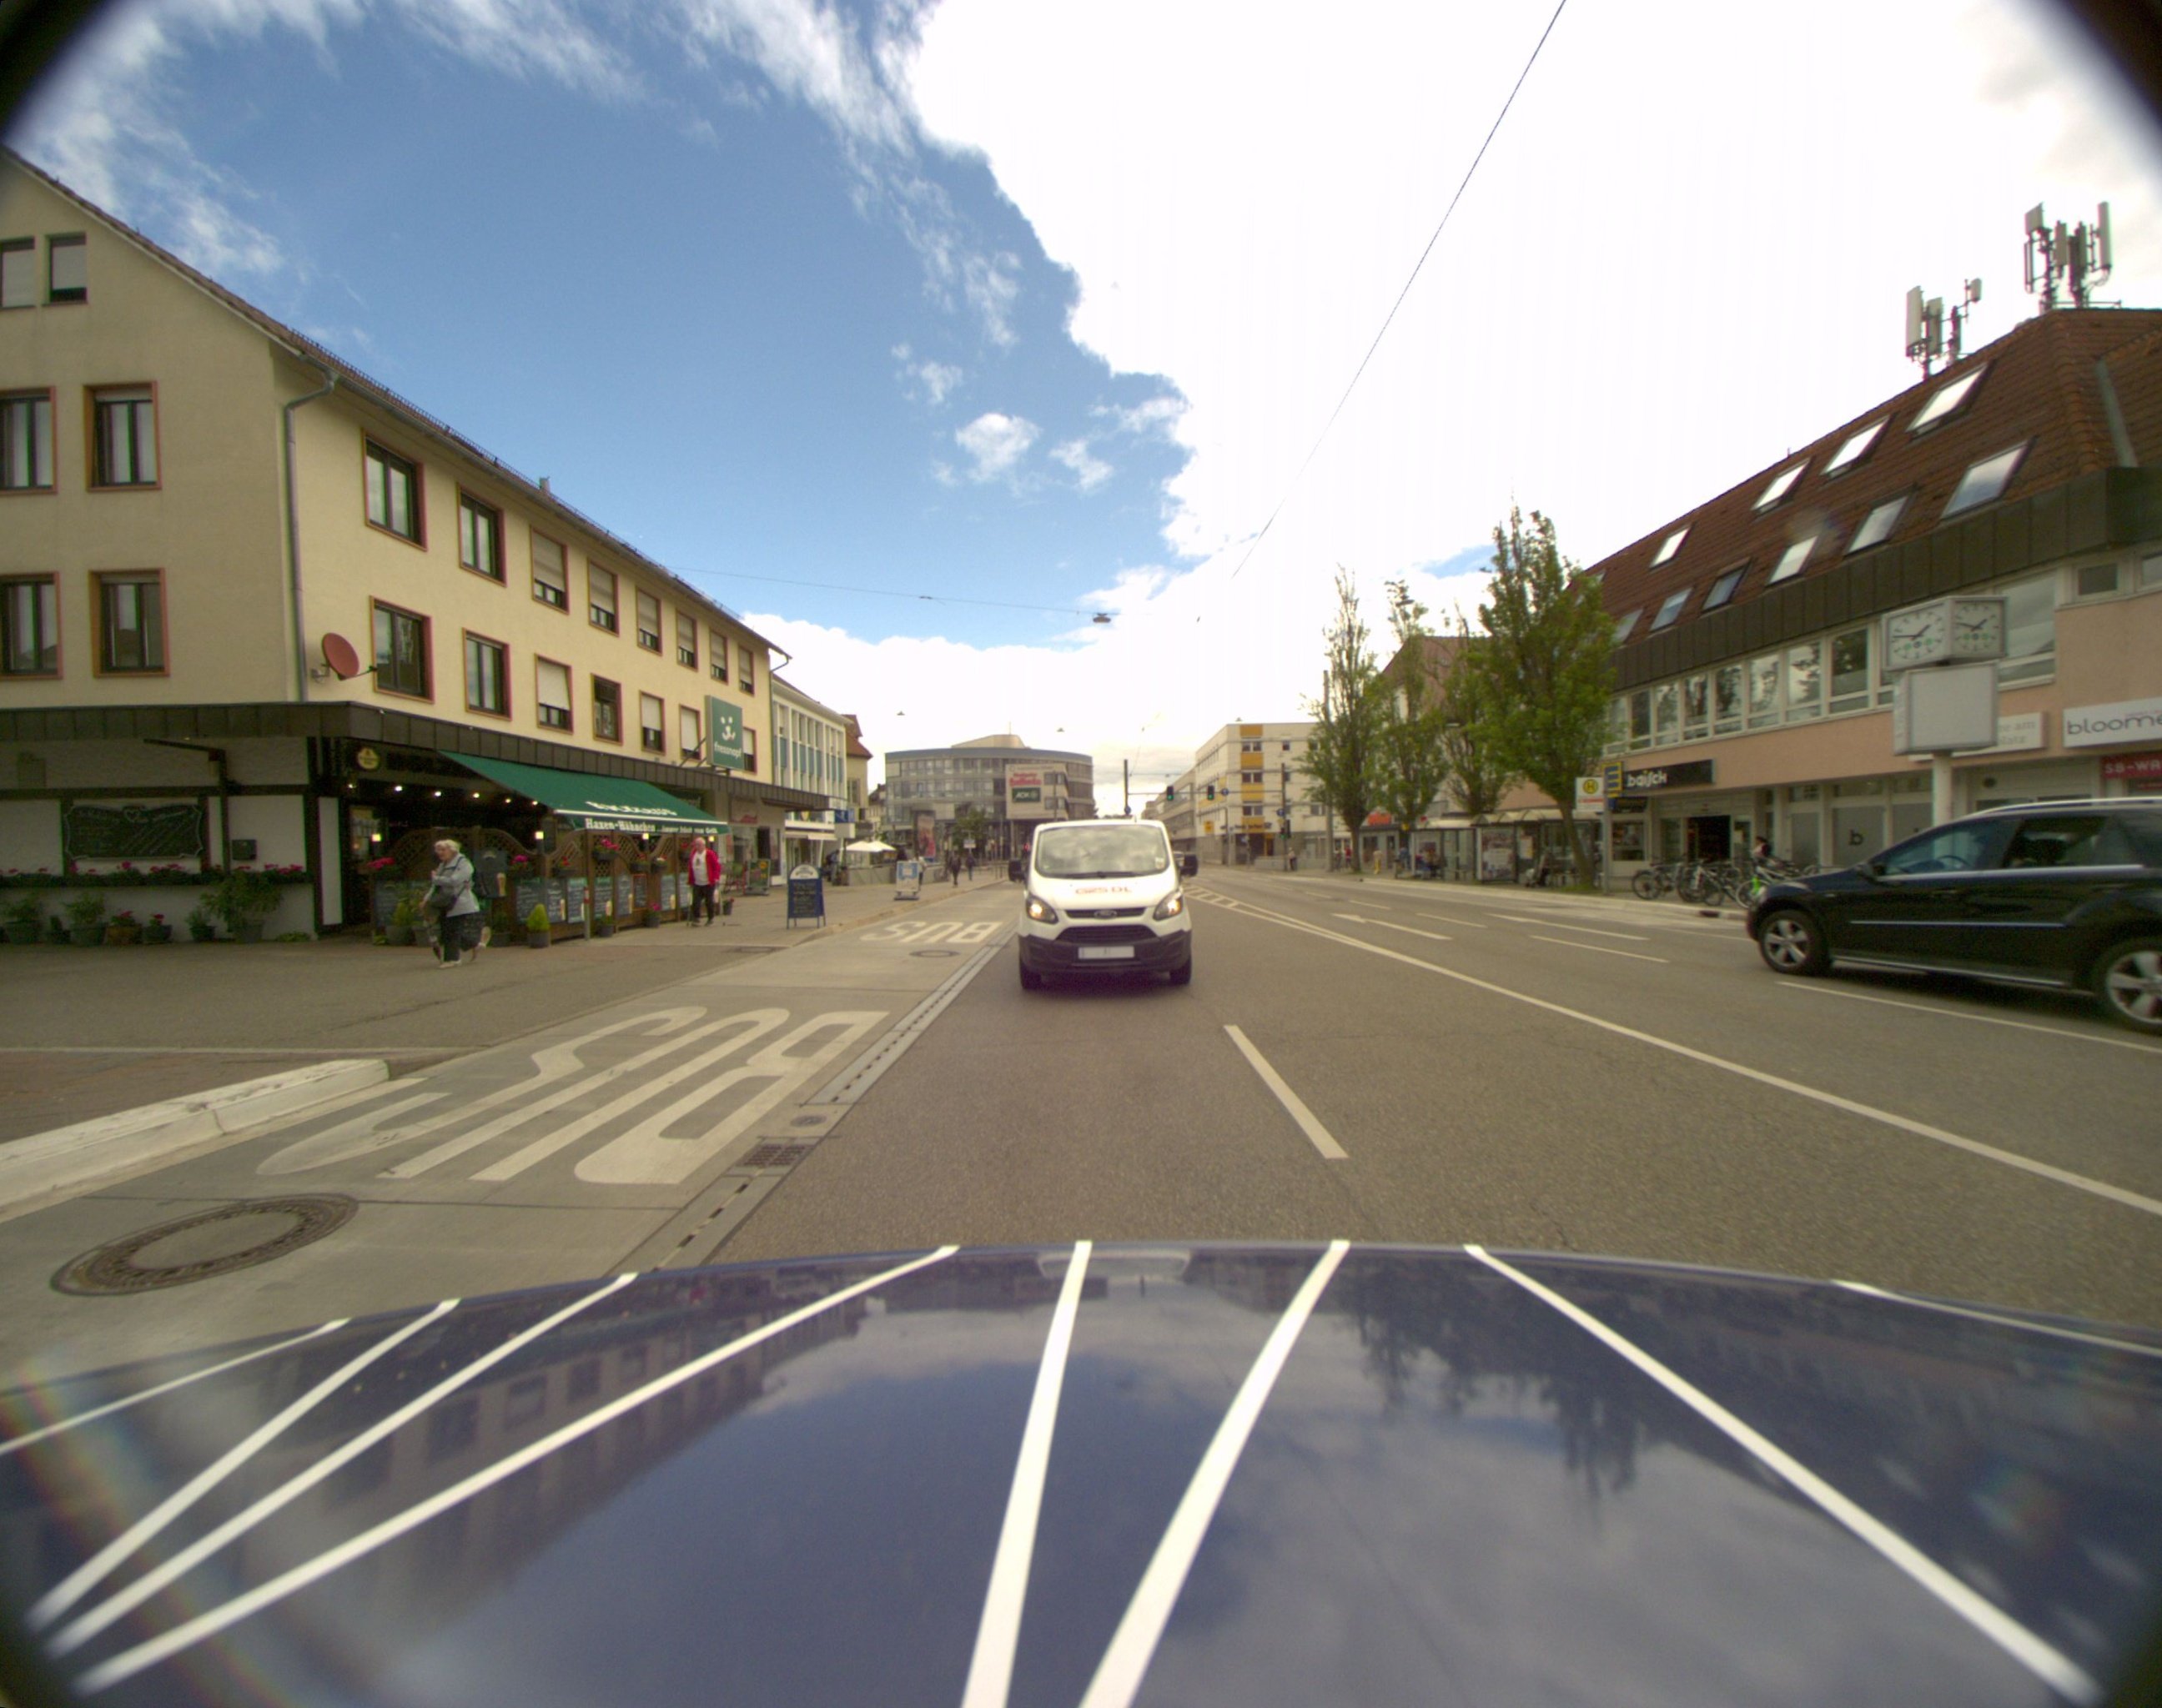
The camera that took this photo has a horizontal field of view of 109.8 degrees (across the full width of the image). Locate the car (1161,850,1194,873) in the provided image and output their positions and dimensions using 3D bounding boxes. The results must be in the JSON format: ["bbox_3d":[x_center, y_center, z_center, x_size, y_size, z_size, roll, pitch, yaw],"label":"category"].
[{"bbox_3d":[6.834,0.503,54.162,1.879,1.497,4.343,0,1,2],"label":"car"}]

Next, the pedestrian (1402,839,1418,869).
[{"bbox_3d":[19.469,-0.016,44.993,0.587,1.702,0.615,-4,0,-1],"label":"pedestrian"}]

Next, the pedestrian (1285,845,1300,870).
[{"bbox_3d":[14.774,0.248,53.029,0.702,1.625,0.614,-4,0,-10],"label":"pedestrian"}]

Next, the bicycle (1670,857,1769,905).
[{"bbox_3d":[15.494,0.647,18.447,2.024,1.084,0.648,-2,1,-9],"label":"bicycle"}]

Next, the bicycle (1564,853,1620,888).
[{"bbox_3d":[17.088,0.524,25.448,0.535,1.084,1.930,-2,1,-1],"label":"bicycle"}]

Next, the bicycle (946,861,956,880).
[{"bbox_3d":[-7.323,0.898,42.770,0.274,1.047,1.387,-1,0,2],"label":"bicycle"}]

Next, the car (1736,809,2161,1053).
[{"bbox_3d":[8.740,0.548,6.615,2.074,1.728,4.693,0,0,1],"label":"car"}]

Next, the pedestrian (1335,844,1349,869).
[{"bbox_3d":[17.065,0.174,49.736,0.587,1.625,0.615,-4,0,-1],"label":"pedestrian"}]

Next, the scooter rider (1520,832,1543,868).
[{"bbox_3d":[21.816,-0.192,36.797,0.614,1.702,0.588,-4,0,-2],"label":"scooter rider"}]

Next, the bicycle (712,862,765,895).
[{"bbox_3d":[-11.572,0.800,25.779,0.743,1.056,2.351,0,0,-1],"label":"bicycle"}]

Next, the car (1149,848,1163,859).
[{"bbox_3d":[13.864,-0.068,140.004,1.999,2.002,4.486,-2,0,-1],"label":"car"}]

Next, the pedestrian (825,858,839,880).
[{"bbox_3d":[-14.278,0.848,43.539,0.614,1.213,0.588,0,0,-2],"label":"pedestrian"}]

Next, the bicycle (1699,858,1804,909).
[{"bbox_3d":[15.205,0.650,17.243,2.024,1.084,0.648,-2,1,-9],"label":"bicycle"}]

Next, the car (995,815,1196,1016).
[{"bbox_3d":[0.315,0.630,10.289,1.998,2.002,5.000,-2,0,4],"label":"car"}]

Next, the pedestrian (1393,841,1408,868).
[{"bbox_3d":[19.975,0.025,47.489,0.587,1.625,0.615,-4,0,-1],"label":"pedestrian"}]

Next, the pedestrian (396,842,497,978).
[{"bbox_3d":[-8.474,0.721,10.182,0.684,1.732,0.781,0,2,-4],"label":"pedestrian"}]

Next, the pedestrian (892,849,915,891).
[{"bbox_3d":[-6.891,0.608,29.504,0.720,1.625,0.615,-1,1,-2],"label":"pedestrian"}]

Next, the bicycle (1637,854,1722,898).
[{"bbox_3d":[16.075,0.569,20.420,2.025,1.084,0.648,-2,1,-13],"label":"bicycle"}]

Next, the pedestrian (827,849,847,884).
[{"bbox_3d":[-11.775,0.595,36.682,0.668,1.625,0.800,-1,1,-2],"label":"pedestrian"}]

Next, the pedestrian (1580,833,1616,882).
[{"bbox_3d":[19.371,0.138,28.488,0.727,1.754,0.755,-4,0,-1],"label":"pedestrian"}]

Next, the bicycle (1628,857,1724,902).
[{"bbox_3d":[15.266,0.643,19.505,2.023,1.084,0.649,-1,1,-4],"label":"bicycle"}]

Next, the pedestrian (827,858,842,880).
[{"bbox_3d":[-14.320,0.847,44.169,0.614,1.213,0.588,-4,0,-2],"label":"pedestrian"}]

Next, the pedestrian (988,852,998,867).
[{"bbox_3d":[-9.959,0.639,86.217,0.847,1.625,0.644,-5,0,-32],"label":"pedestrian"}]

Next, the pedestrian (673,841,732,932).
[{"bbox_3d":[-7.497,0.626,15.079,0.797,1.732,0.781,0,2,-5],"label":"pedestrian"}]

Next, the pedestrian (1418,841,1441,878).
[{"bbox_3d":[16.020,0.248,34.975,0.588,1.643,0.713,-2,0,-17],"label":"pedestrian"}]

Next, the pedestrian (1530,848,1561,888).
[{"bbox_3d":[16.277,0.485,26.628,0.713,1.356,0.588,-2,0,3],"label":"pedestrian"}]

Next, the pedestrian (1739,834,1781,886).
[{"bbox_3d":[20.746,0.177,23.222,0.713,1.538,0.588,-2,0,0],"label":"pedestrian"}]

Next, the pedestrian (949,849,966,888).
[{"bbox_3d":[-5.389,0.611,33.136,0.613,1.668,0.615,-1,1,3],"label":"pedestrian"}]

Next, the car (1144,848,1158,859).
[{"bbox_3d":[13.419,-0.079,146.198,1.999,2.002,4.486,-2,0,-1],"label":"car"}]

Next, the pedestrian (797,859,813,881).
[{"bbox_3d":[-15.044,0.863,41.388,0.614,1.213,0.588,-2,0,-2],"label":"pedestrian"}]

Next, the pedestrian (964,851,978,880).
[{"bbox_3d":[-6.375,0.670,44.031,0.689,1.625,0.853,-1,0,0],"label":"pedestrian"}]

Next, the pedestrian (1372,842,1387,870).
[{"bbox_3d":[18.062,0.128,45.996,0.587,1.625,0.615,-4,0,-1],"label":"pedestrian"}]

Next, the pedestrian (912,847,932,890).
[{"bbox_3d":[-6.149,0.564,29.423,0.614,1.625,0.615,-1,1,-2],"label":"pedestrian"}]

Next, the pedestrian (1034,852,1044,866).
[{"bbox_3d":[-4.837,0.588,87.001,0.808,1.637,0.886,-2,1,-34],"label":"pedestrian"}]

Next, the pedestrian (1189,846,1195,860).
[{"bbox_3d":[14.936,-0.113,102.205,0.587,1.792,0.526,-4,0,1],"label":"pedestrian"}]

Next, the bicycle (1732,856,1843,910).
[{"bbox_3d":[15.376,0.618,16.546,2.024,1.084,0.648,-2,1,-9],"label":"bicycle"}]

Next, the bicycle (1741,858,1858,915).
[{"bbox_3d":[14.803,0.656,15.664,2.024,1.084,0.648,-2,1,-9],"label":"bicycle"}]

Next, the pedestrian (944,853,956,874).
[{"bbox_3d":[-10.643,0.781,61.613,0.589,1.613,0.743,-5,0,-31],"label":"pedestrian"}]

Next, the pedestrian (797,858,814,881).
[{"bbox_3d":[-14.725,0.832,40.679,0.614,1.213,0.588,-4,0,-2],"label":"pedestrian"}]

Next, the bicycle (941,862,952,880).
[{"bbox_3d":[-7.296,0.925,41.277,0.274,0.968,1.387,-1,0,2],"label":"bicycle"}]
